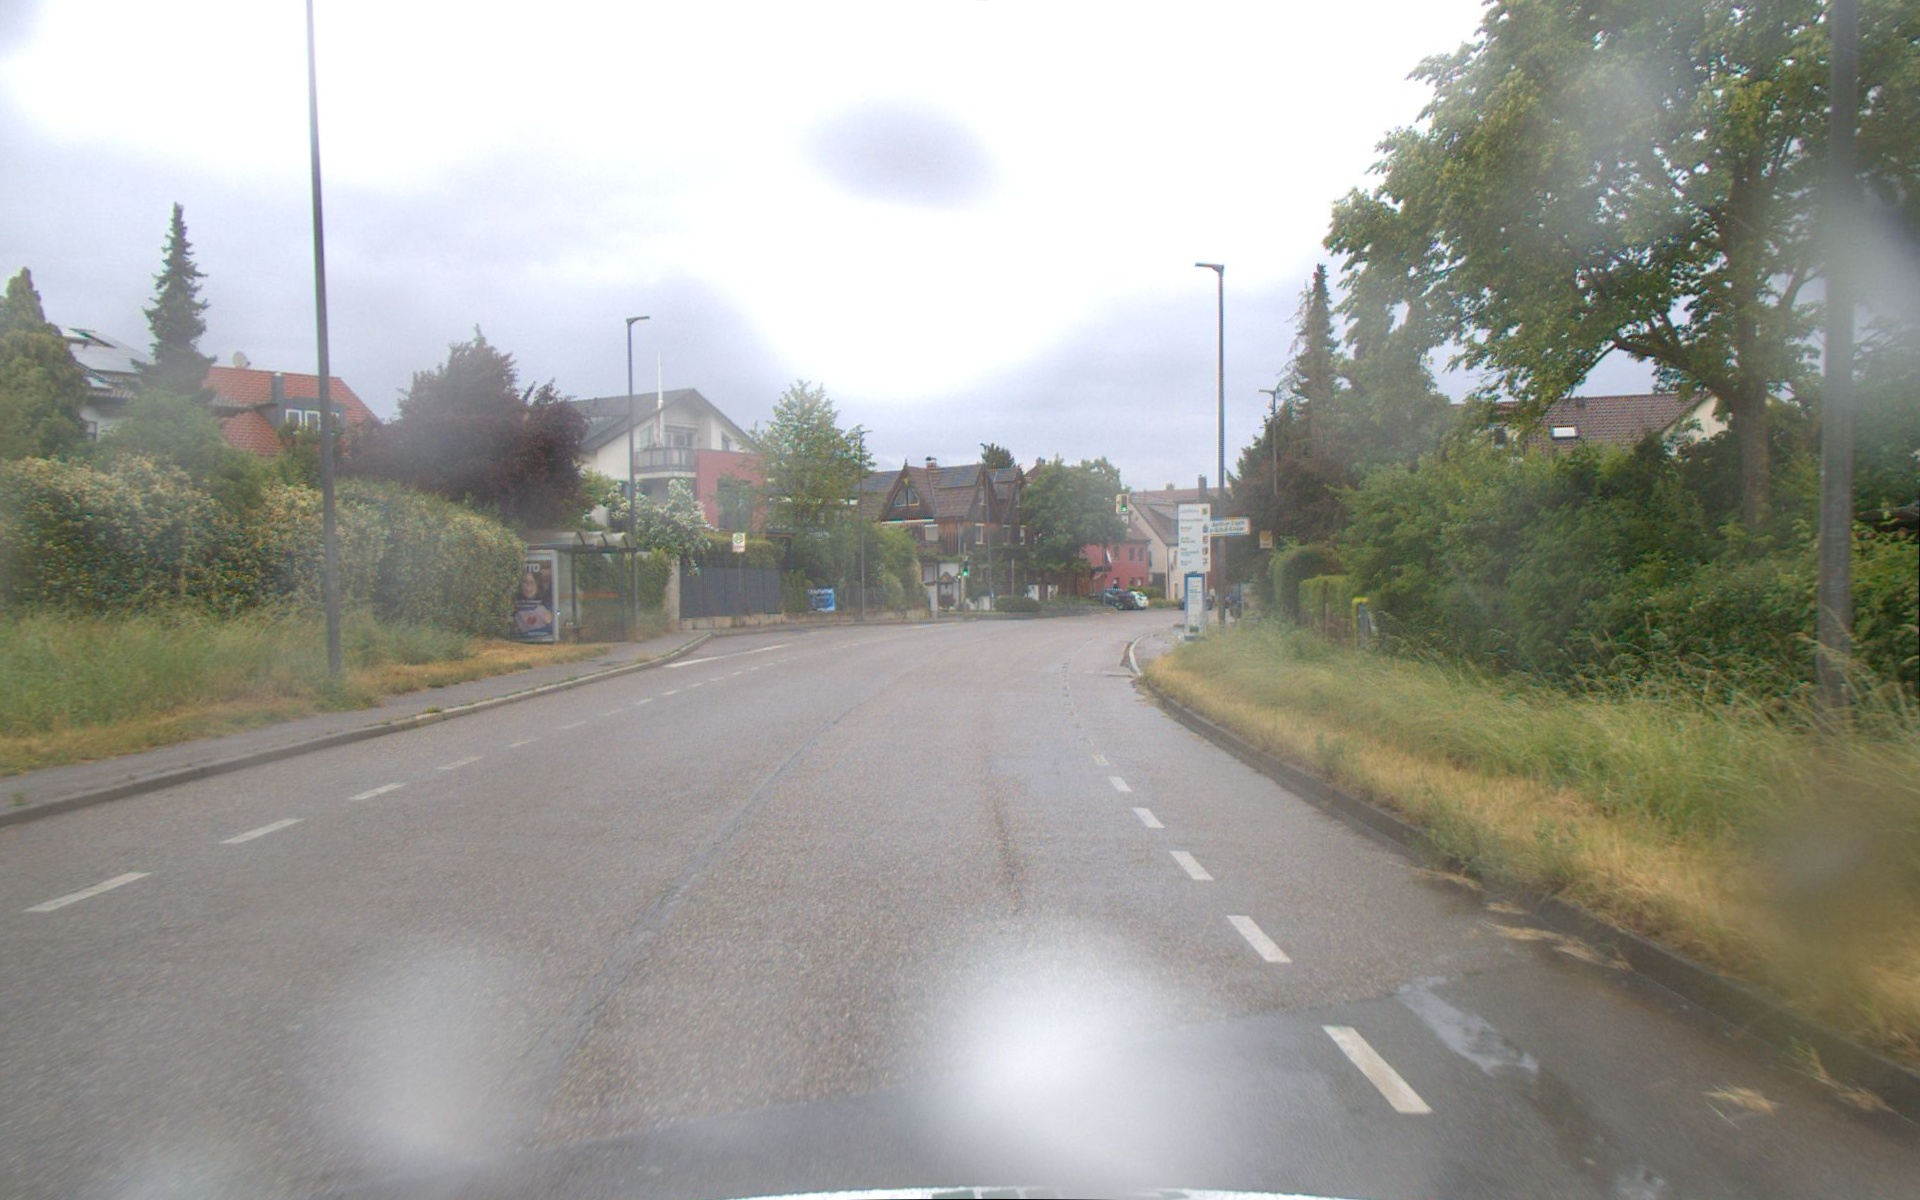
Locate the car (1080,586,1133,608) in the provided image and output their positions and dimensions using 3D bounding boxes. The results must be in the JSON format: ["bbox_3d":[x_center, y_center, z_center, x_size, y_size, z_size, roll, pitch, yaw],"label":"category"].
[{"bbox_3d":[11.036,-0.271,124.737,3.512,1.532,1.851,2,1,32],"label":"car"}]

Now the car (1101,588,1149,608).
[{"bbox_3d":[12.878,-0.170,128.948,3.397,1.505,1.587,-1,0,31],"label":"car"}]

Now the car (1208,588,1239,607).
[{"bbox_3d":[22.677,-0.215,142.309,1.574,1.646,3.271,-1,0,28],"label":"car"}]

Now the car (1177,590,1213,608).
[{"bbox_3d":[18.735,-0.107,131.638,1.595,1.379,4.106,1,1,27],"label":"car"}]
